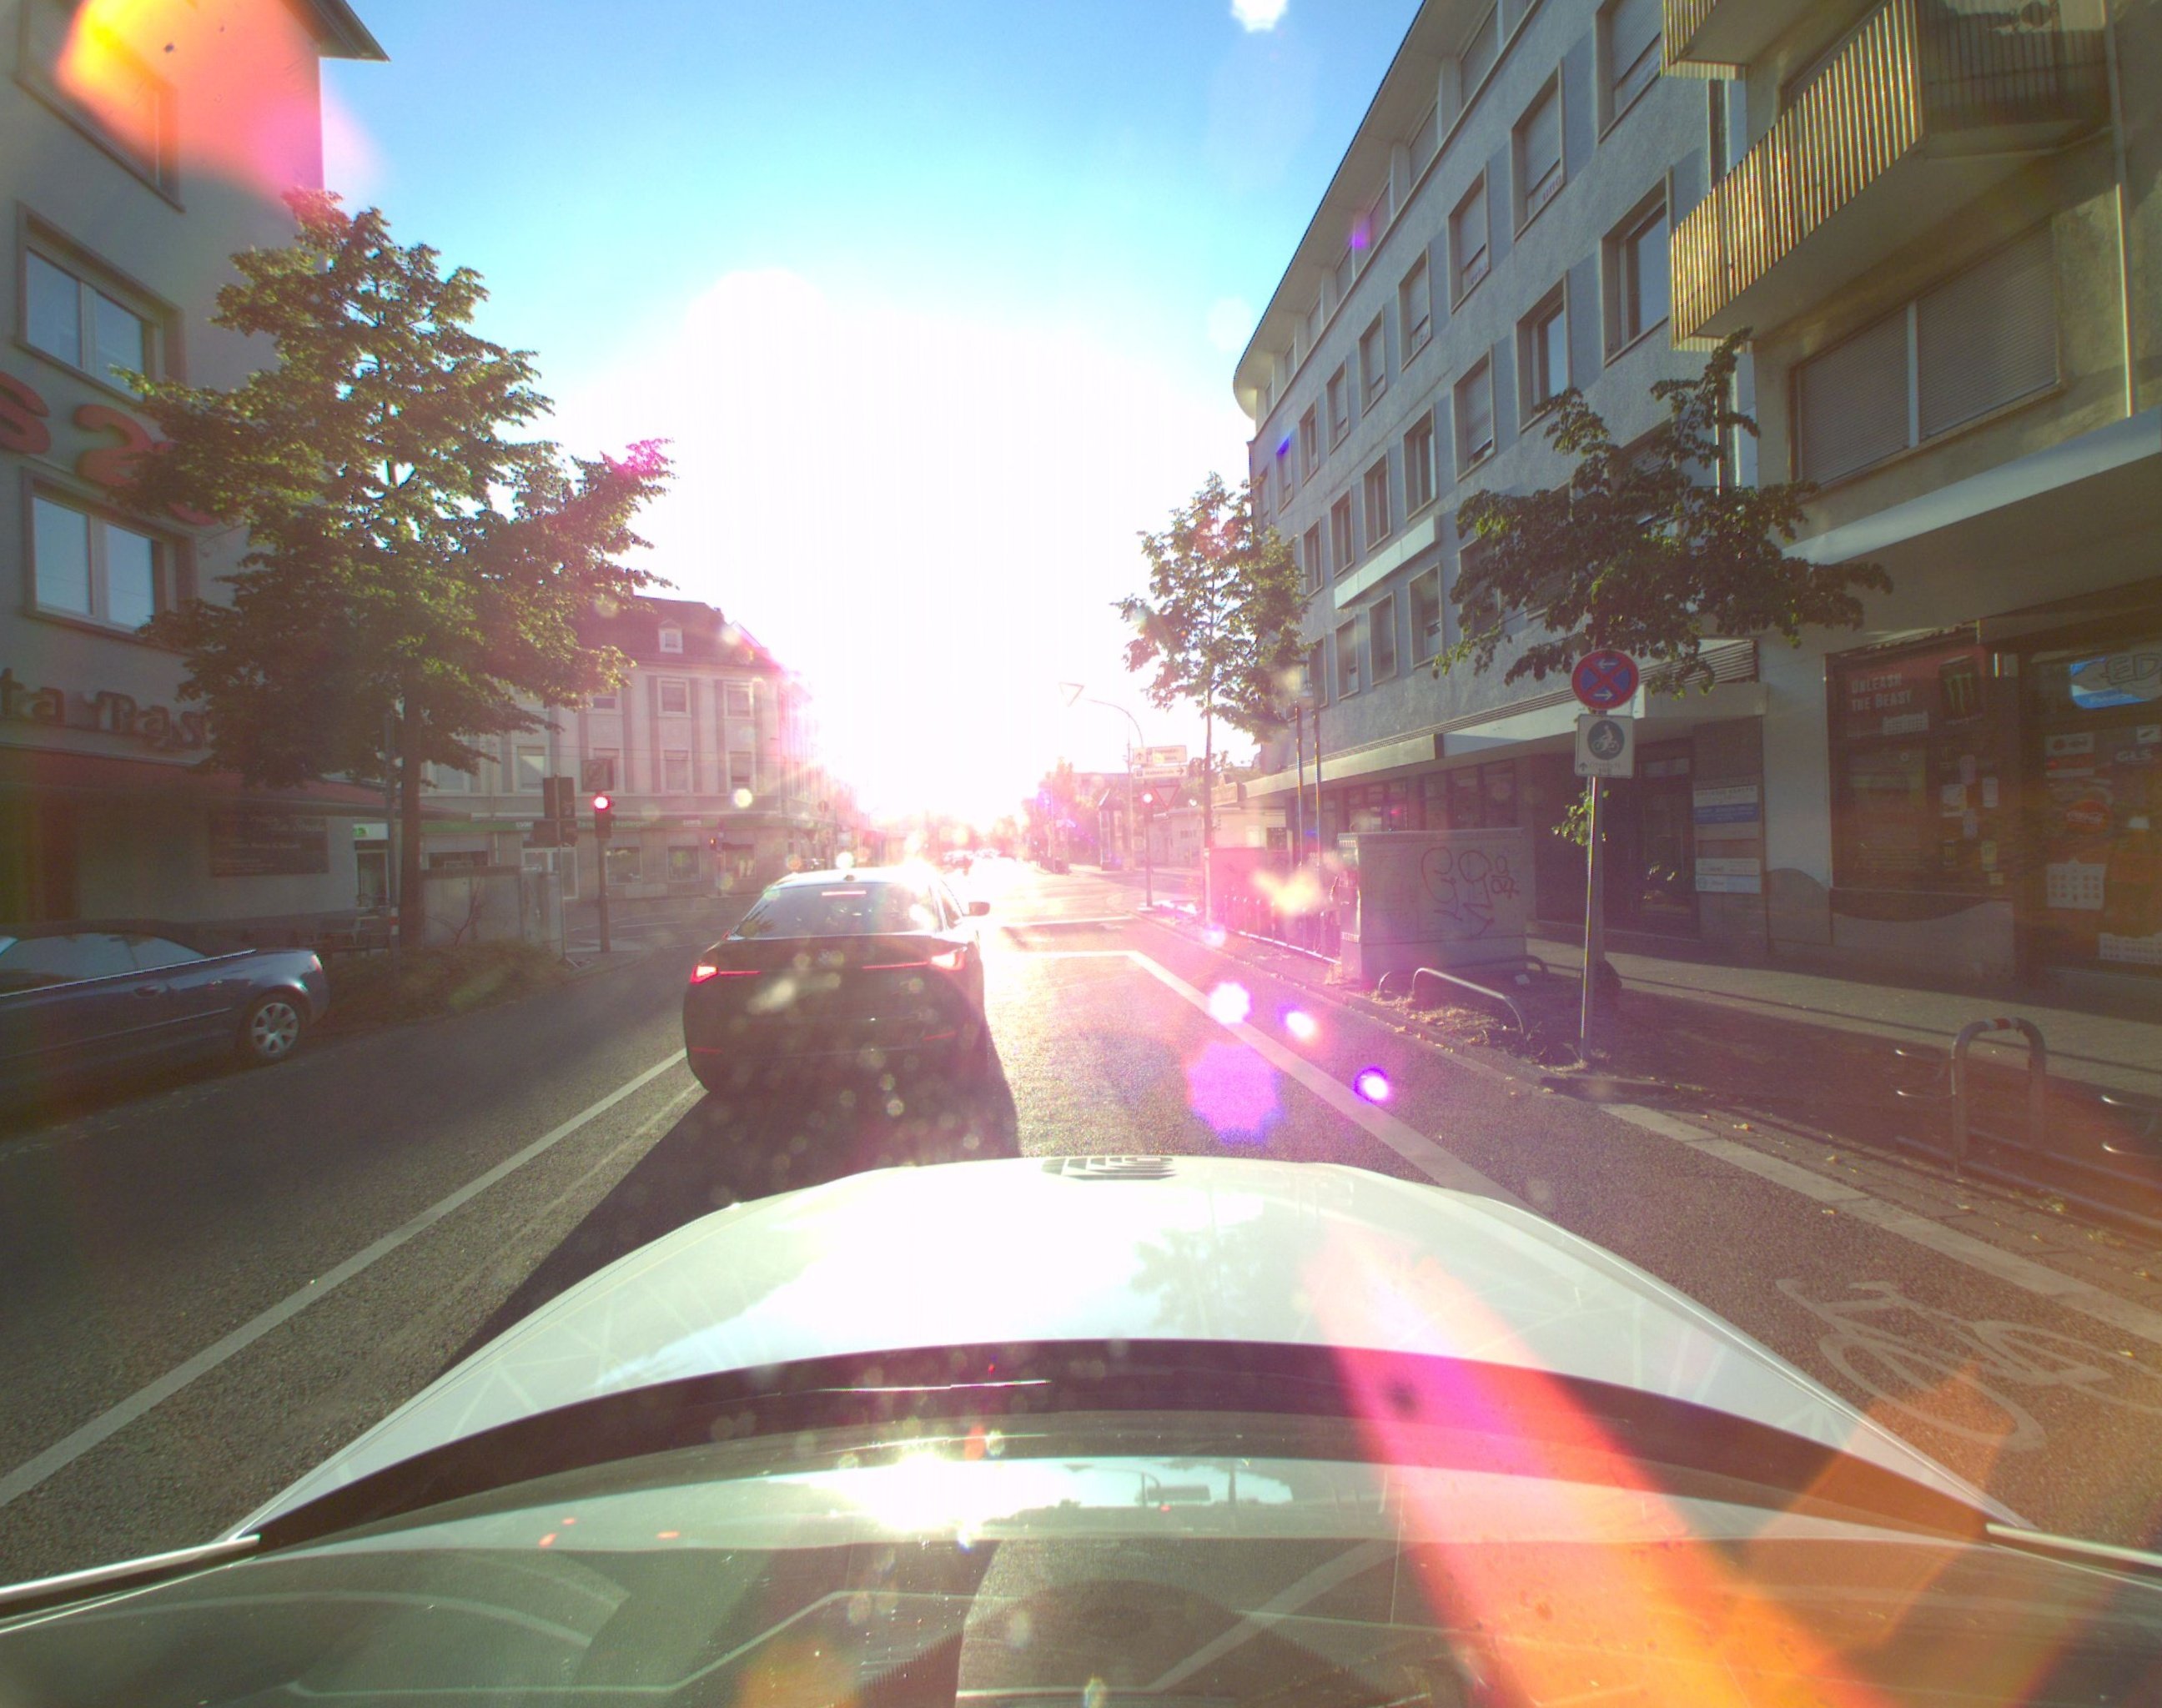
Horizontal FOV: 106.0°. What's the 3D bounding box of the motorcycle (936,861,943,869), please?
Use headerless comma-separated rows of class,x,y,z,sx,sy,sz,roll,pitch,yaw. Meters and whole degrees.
motorcycle,-15.427,1.178,88.889,0.574,0.915,2.196,0,0,-6

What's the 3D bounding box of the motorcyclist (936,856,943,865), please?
motorcyclist,-15.404,0.679,88.761,0.574,0.915,2.196,0,0,-6

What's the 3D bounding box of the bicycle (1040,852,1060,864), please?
bicycle,-3.386,0.432,89.247,2.202,1.202,0.621,0,0,4

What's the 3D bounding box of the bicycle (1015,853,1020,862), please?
bicycle,-8.347,0.503,107.655,0.549,1.159,2.138,-1,-1,-7

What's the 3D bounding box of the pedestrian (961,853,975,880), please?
pedestrian,-6.534,0.710,47.179,0.734,1.529,0.470,0,0,-18

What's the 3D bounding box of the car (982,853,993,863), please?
car,-15.733,0.647,137.396,1.816,1.519,3.992,-2,0,-6

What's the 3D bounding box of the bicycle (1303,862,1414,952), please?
bicycle,3.888,0.724,11.429,1.438,1.220,0.383,0,0,-5

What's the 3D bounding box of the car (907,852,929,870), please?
car,-17.515,0.709,87.745,1.816,1.788,3.992,-2,0,-6

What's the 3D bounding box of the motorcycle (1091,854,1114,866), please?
motorcycle,1.798,0.491,68.041,1.673,0.939,0.851,-2,0,-18

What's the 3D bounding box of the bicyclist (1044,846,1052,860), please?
bicyclist,-3.612,-0.142,89.265,0.879,1.505,0.613,0,0,5

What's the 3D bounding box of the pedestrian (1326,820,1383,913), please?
pedestrian,5.614,0.244,16.747,0.834,1.841,0.677,-2,0,-6

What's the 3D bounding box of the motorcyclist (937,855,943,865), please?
motorcyclist,-14.638,0.640,84.552,0.574,0.995,0.701,0,0,-6

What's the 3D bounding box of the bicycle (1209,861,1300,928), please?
bicycle,3.230,0.745,15.209,1.610,1.171,0.318,-2,0,-5

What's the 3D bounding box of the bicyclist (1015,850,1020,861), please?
bicyclist,-8.361,0.164,107.723,0.549,1.481,0.721,-1,-1,-8

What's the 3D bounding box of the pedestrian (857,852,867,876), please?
pedestrian,-17.247,0.799,64.187,0.642,1.876,0.630,0,0,-7

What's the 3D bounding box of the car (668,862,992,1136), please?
car,-1.646,0.812,6.660,1.735,1.428,4.213,-1,0,-7

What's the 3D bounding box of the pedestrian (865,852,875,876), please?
pedestrian,-16.514,0.792,63.851,0.675,1.876,0.616,0,0,-6

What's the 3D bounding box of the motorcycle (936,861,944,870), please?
motorcycle,-14.669,1.172,84.752,0.574,0.915,2.196,0,0,-6

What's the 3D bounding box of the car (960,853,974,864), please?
car,-17.320,0.697,124.017,1.816,1.519,3.992,-2,0,-6

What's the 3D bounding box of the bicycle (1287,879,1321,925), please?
bicycle,4.179,0.886,15.315,0.249,0.796,1.114,0,0,-4

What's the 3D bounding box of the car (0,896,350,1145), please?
car,-7.639,1.159,5.543,1.721,1.415,4.270,-4,0,-7

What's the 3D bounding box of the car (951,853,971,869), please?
car,-12.309,0.738,83.516,1.816,1.519,3.992,-2,0,-6
